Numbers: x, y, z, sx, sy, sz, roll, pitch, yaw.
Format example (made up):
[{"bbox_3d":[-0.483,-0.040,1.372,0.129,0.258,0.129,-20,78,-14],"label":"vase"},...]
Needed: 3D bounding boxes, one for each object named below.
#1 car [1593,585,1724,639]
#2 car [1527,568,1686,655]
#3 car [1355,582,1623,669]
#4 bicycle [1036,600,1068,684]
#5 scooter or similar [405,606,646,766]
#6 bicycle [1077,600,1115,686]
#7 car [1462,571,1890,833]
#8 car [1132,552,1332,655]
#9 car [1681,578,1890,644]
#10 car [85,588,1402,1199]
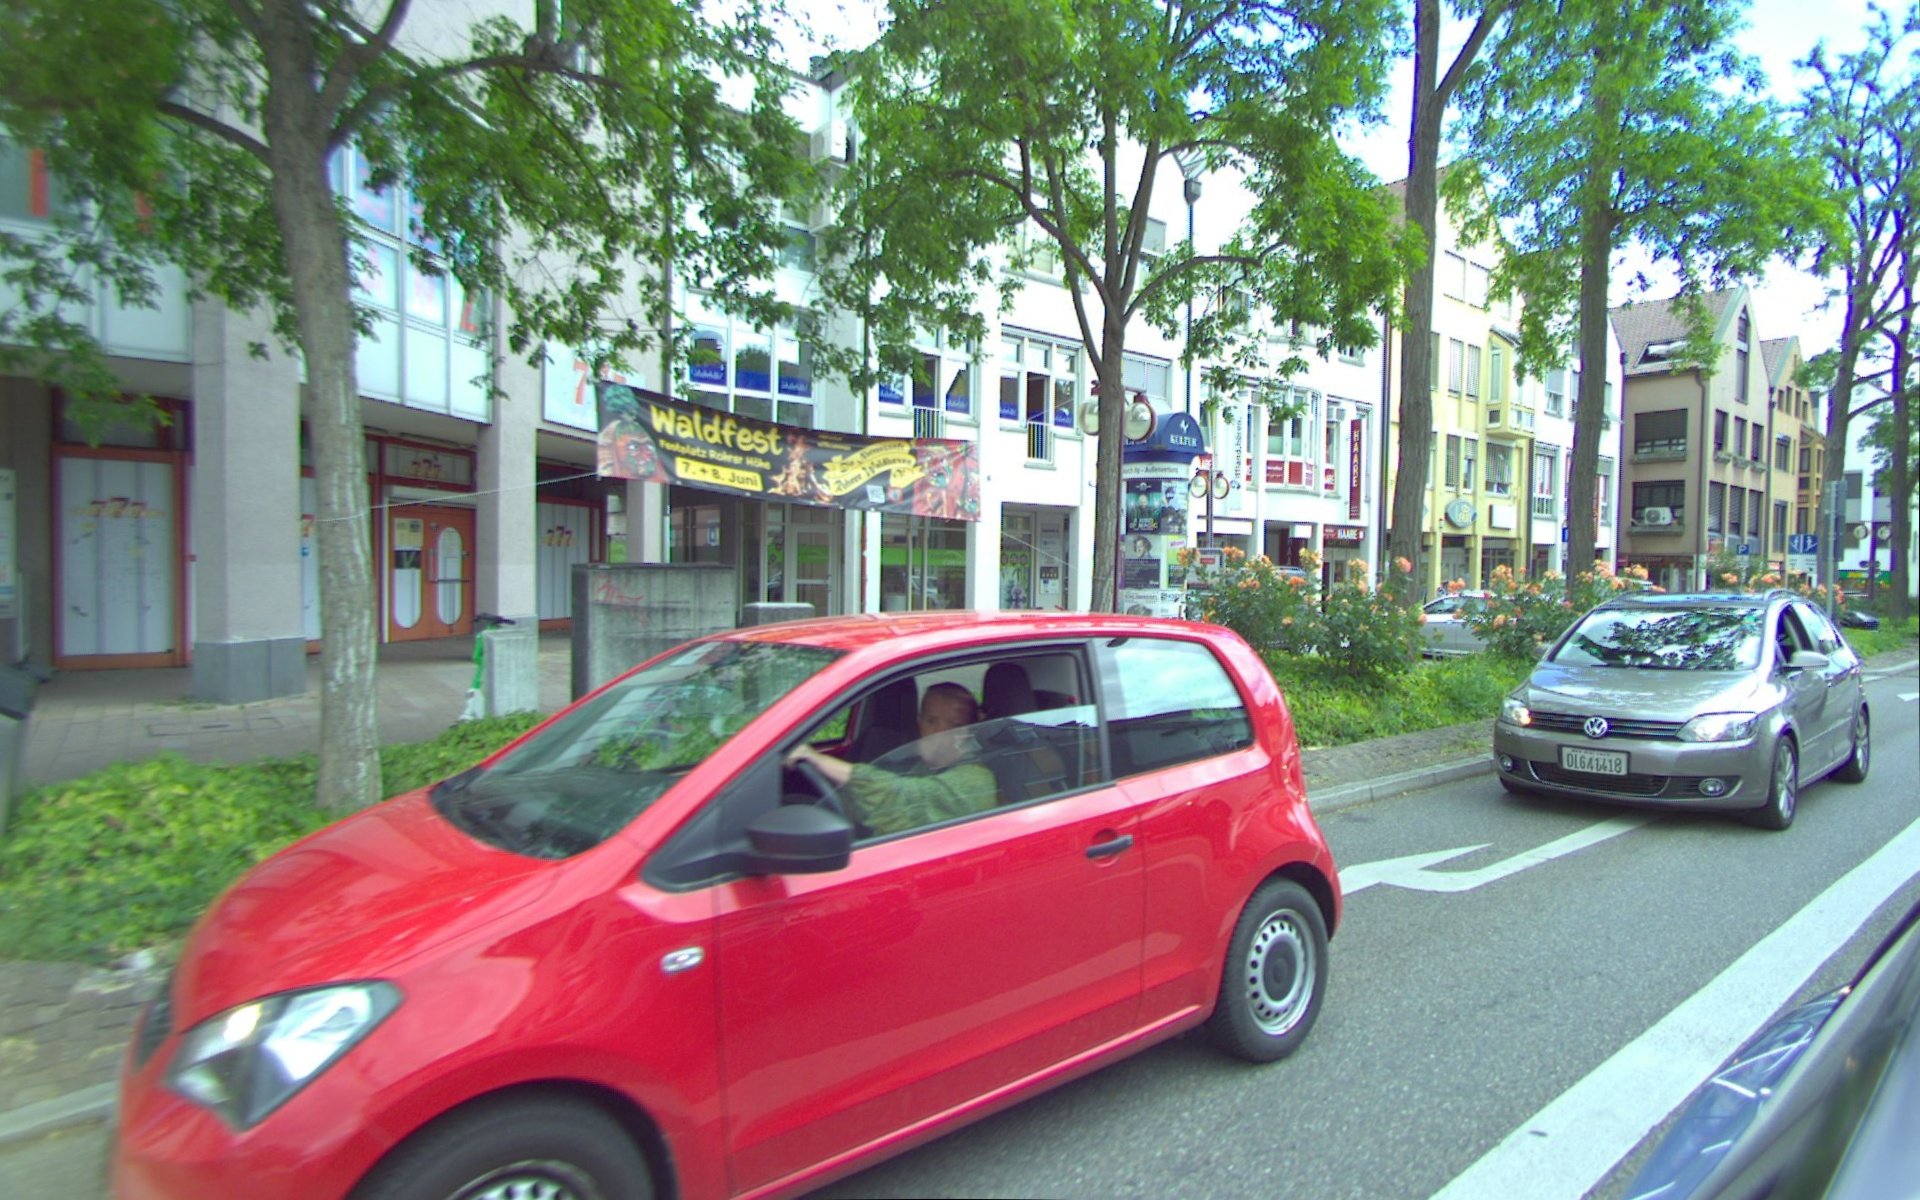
[{"bbox_3d":[19.665,0.280,28.432,4.670,1.325,1.842,-1,3,-40],"label":"car"},{"bbox_3d":[16.013,0.197,24.964,4.670,1.899,1.998,-1,3,-41],"label":"car"},{"bbox_3d":[10.866,0.431,21.121,1.708,1.471,4.651,0,2,-38],"label":"car"},{"bbox_3d":[1.281,0.557,14.233,0.399,1.061,1.568,1,1,4],"label":"bicycle"},{"bbox_3d":[-3.494,0.634,8.304,0.468,1.101,1.865,2,2,34],"label":"scooter or similar"},{"bbox_3d":[1.844,0.553,13.845,0.399,1.061,1.568,1,1,4],"label":"bicycle"},{"bbox_3d":[5.740,0.603,7.948,3.929,1.549,1.800,0,0,-40],"label":"car"},{"bbox_3d":[5.455,0.026,20.037,4.186,1.826,1.738,0,2,-40],"label":"car"},{"bbox_3d":[25.001,0.275,30.758,4.740,1.699,1.968,4,2,44],"label":"car"},{"bbox_3d":[-0.319,0.714,3.177,3.575,1.467,1.630,0,0,-38],"label":"car"}]
